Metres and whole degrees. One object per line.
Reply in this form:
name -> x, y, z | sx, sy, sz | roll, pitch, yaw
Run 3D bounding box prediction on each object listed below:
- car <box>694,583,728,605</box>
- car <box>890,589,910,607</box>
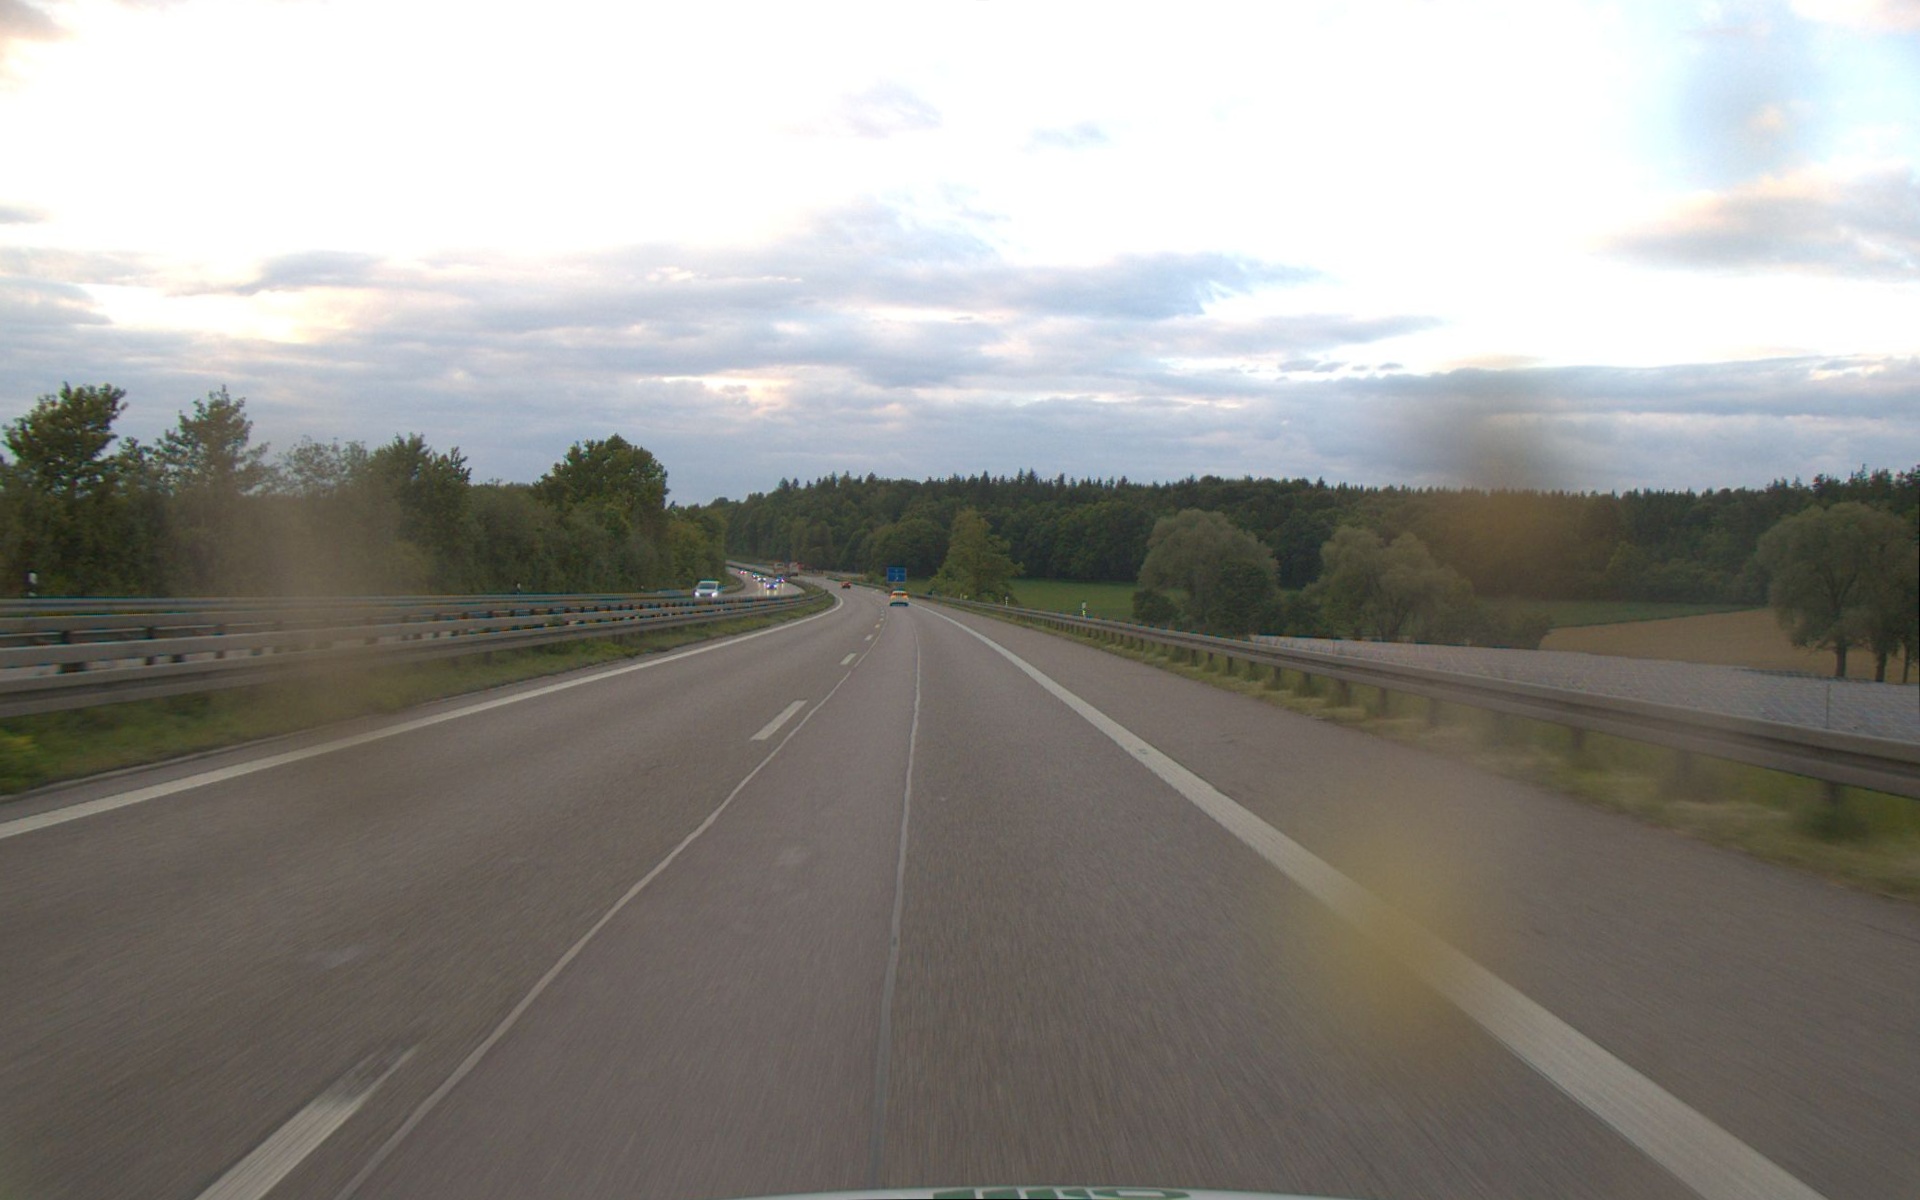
car -> -20.787, -0.510, 138.097 | 1.953, 1.655, 5.735 | 4, 1, -1
car -> -5.965, -0.212, 164.037 | 1.913, 1.558, 4.079 | 4, 1, -2
